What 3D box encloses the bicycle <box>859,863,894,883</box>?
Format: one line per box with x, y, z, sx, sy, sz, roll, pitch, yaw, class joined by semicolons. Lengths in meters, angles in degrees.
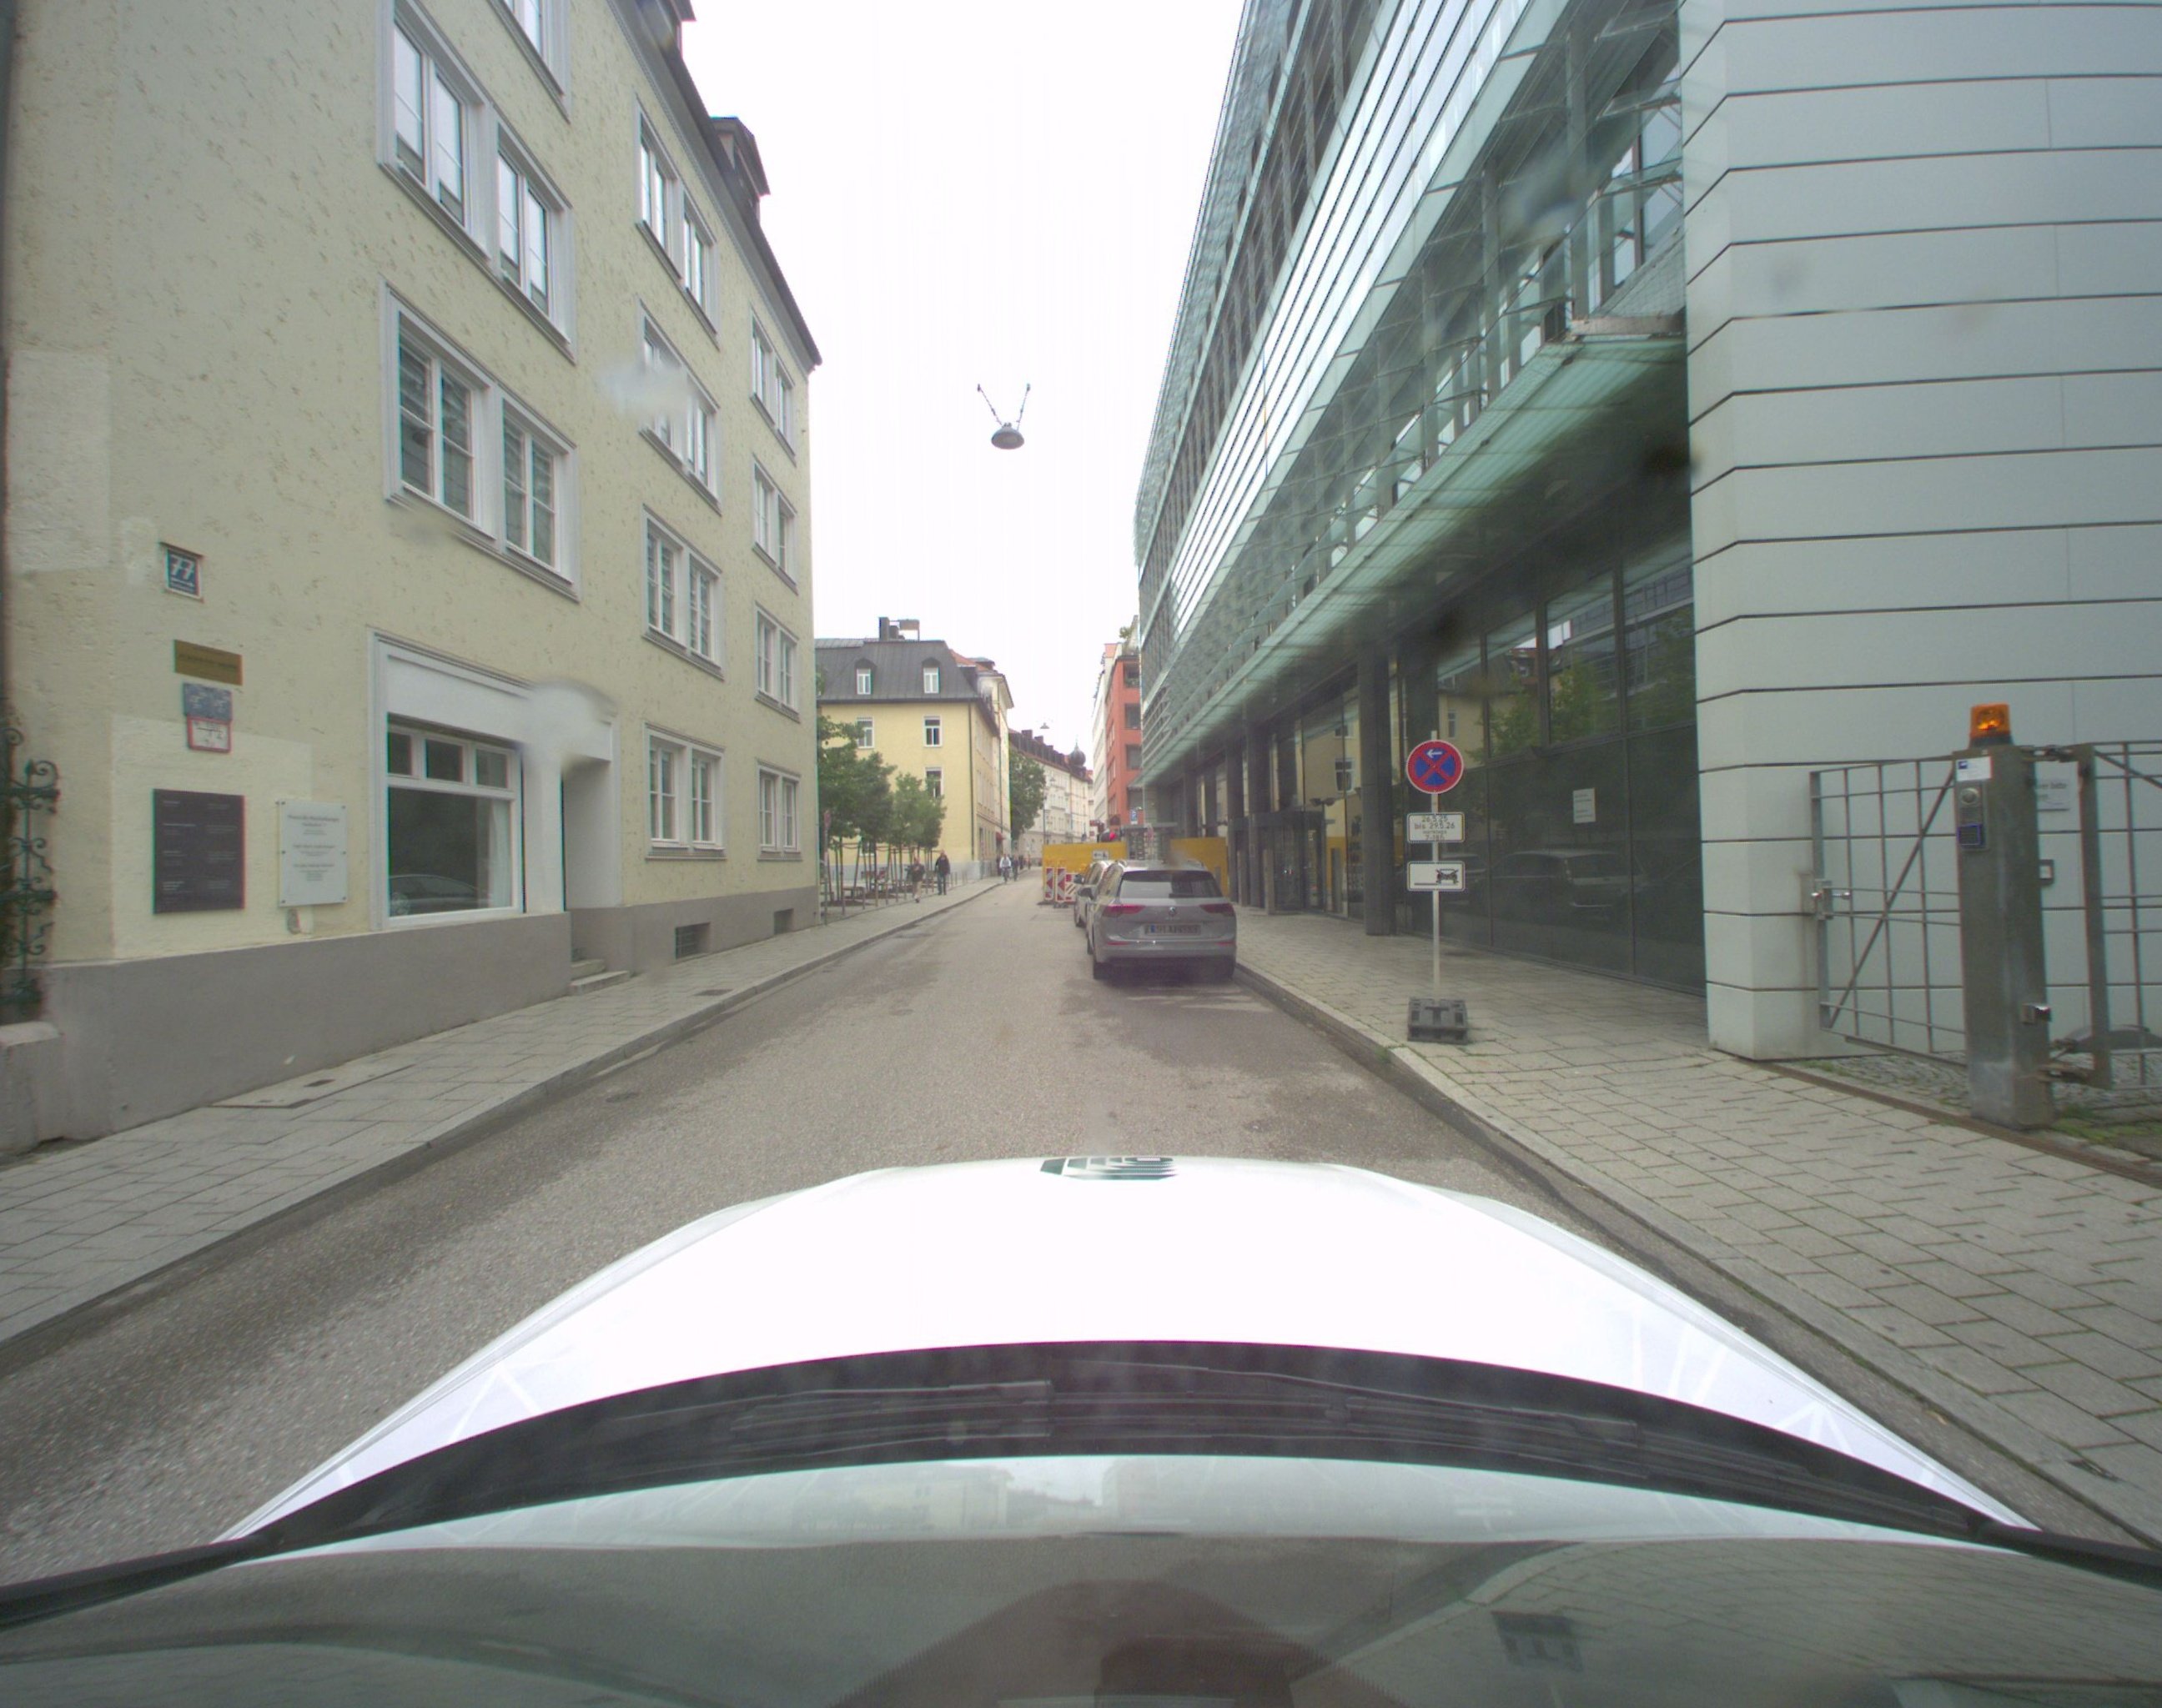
-12.598;1.181;50.146;2.033;1.198;0.571;-1;0;5;bicycle

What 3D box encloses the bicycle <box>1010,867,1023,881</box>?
-4.270;1.310;53.961;0.706;0.905;1.808;-2;0;-2;bicycle

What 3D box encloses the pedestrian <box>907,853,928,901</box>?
-5.845;0.815;29.144;0.645;1.676;0.723;0;-1;-3;pedestrian

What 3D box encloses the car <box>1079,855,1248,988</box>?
0.919;0.766;11.232;1.704;1.432;4.325;-1;0;-2;car

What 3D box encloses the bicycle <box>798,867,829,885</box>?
-16.323;1.317;49.715;1.649;1.069;0.598;0;-1;2;bicycle

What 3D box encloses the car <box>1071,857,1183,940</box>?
0.793;0.805;16.521;1.705;1.467;4.229;0;-1;-5;car

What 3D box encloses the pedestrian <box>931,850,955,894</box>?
-5.979;0.773;35.346;0.865;1.881;1.133;0;-1;-3;pedestrian

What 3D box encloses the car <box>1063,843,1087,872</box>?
-0.599;0.343;73.760;1.989;2.537;4.970;-1;0;-2;car

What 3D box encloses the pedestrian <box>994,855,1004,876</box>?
-6.383;0.893;63.299;0.668;1.648;0.761;0;-1;-3;pedestrian

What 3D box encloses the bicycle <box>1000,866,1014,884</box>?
-4.498;1.276;49.562;0.659;1.039;2.003;-2;0;-2;bicycle

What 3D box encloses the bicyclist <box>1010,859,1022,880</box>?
-4.279;1.043;53.995;0.706;1.371;0.812;-2;-1;-2;bicyclist

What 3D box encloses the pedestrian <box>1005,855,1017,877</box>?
-5.425;0.896;62.886;0.837;1.700;0.802;0;-1;-3;pedestrian

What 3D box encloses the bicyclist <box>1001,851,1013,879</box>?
-4.505;0.658;49.489;0.658;1.643;0.894;-2;-1;-2;bicyclist

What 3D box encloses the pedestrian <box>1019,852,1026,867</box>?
-6.282;0.586;87.365;0.633;1.675;0.517;-1;0;-2;pedestrian
